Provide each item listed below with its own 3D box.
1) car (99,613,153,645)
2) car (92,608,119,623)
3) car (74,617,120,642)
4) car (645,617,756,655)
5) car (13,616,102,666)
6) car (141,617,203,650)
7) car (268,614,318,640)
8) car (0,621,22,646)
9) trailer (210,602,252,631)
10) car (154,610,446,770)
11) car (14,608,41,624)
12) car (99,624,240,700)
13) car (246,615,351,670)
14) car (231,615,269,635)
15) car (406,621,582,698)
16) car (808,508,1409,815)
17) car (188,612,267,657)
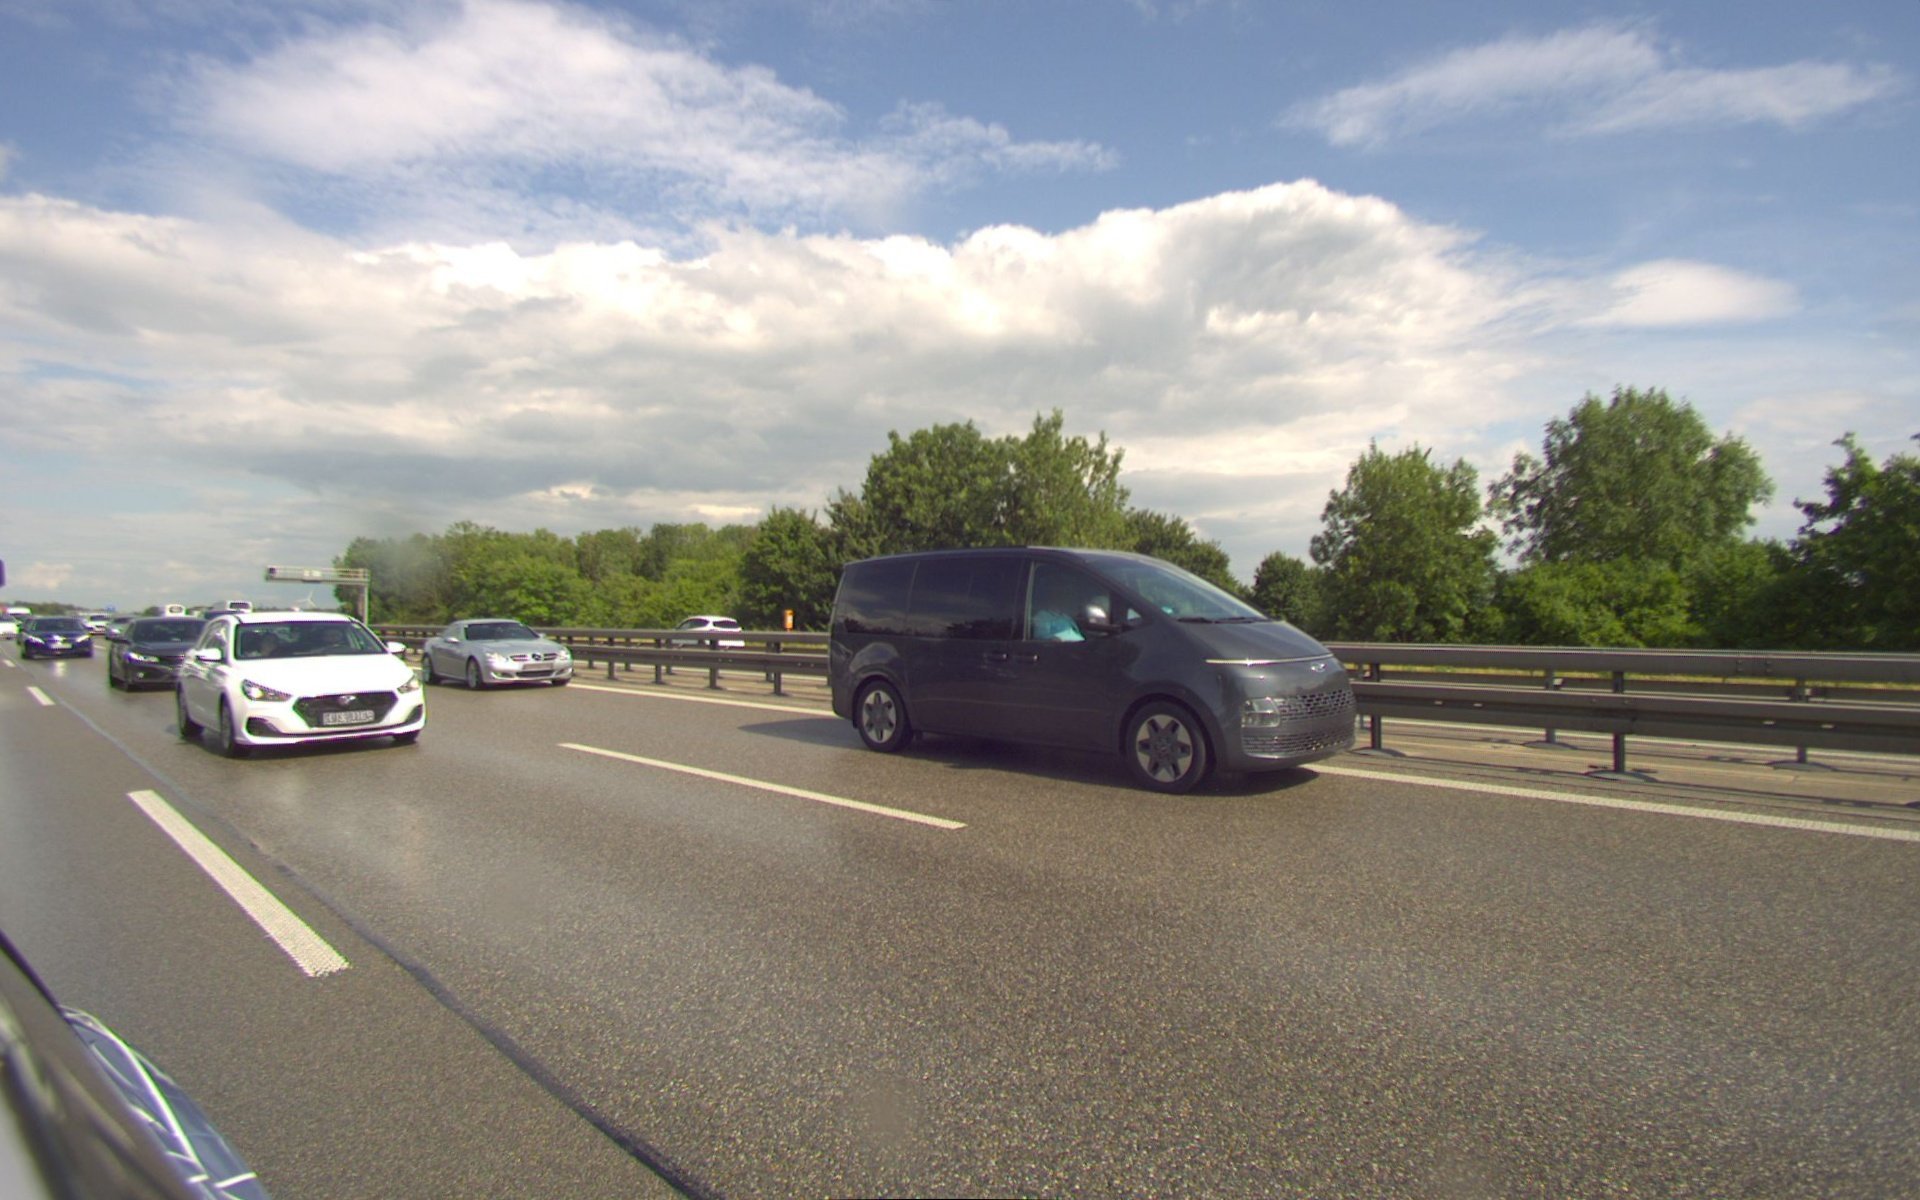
[{"bbox_3d":[-49.285,1.680,59.777,4.001,1.761,1.971,0,1,44],"label":"car"},{"bbox_3d":[-99.436,1.806,117.722,4.463,1.792,1.971,-1,-1,45],"label":"car"},{"bbox_3d":[-57.959,1.956,67.964,4.001,1.490,1.971,0,1,44],"label":"car"},{"bbox_3d":[-10.928,1.467,42.407,5.036,1.498,2.094,-1,-1,42],"label":"car"},{"bbox_3d":[-31.236,1.371,35.006,4.001,1.497,1.971,0,1,44],"label":"car"},{"bbox_3d":[-37.487,1.559,48.113,4.001,1.389,1.747,0,0,44],"label":"car"},{"bbox_3d":[-44.939,1.790,68.145,4.001,1.641,1.971,0,-1,44],"label":"car"},{"bbox_3d":[-61.778,2.151,65.039,4.001,1.490,1.971,0,1,44],"label":"car"},{"bbox_3d":[-87.517,1.978,121.447,2.698,3.407,9.567,0,-1,-44],"label":"trailer"},{"bbox_3d":[-7.711,0.871,11.614,4.549,1.466,1.860,-1,-1,44],"label":"car"},{"bbox_3d":[-106.449,1.860,115.507,4.001,1.710,1.971,0,1,44],"label":"car"},{"bbox_3d":[-16.126,1.182,20.566,4.288,1.348,1.705,-1,-1,44],"label":"car"},{"bbox_3d":[-19.126,1.171,29.189,1.746,1.436,4.141,-1,0,-45],"label":"car"},{"bbox_3d":[-65.143,2.313,92.831,4.947,1.747,1.971,-1,-1,44],"label":"car"},{"bbox_3d":[-8.991,1.069,19.369,4.064,1.288,1.705,-1,-1,44],"label":"car"},{"bbox_3d":[1.020,0.442,9.240,5.271,2.029,1.971,-1,-1,44],"label":"car"},{"bbox_3d":[-28.298,1.293,39.050,1.849,1.618,4.231,0,0,-45],"label":"car"}]
